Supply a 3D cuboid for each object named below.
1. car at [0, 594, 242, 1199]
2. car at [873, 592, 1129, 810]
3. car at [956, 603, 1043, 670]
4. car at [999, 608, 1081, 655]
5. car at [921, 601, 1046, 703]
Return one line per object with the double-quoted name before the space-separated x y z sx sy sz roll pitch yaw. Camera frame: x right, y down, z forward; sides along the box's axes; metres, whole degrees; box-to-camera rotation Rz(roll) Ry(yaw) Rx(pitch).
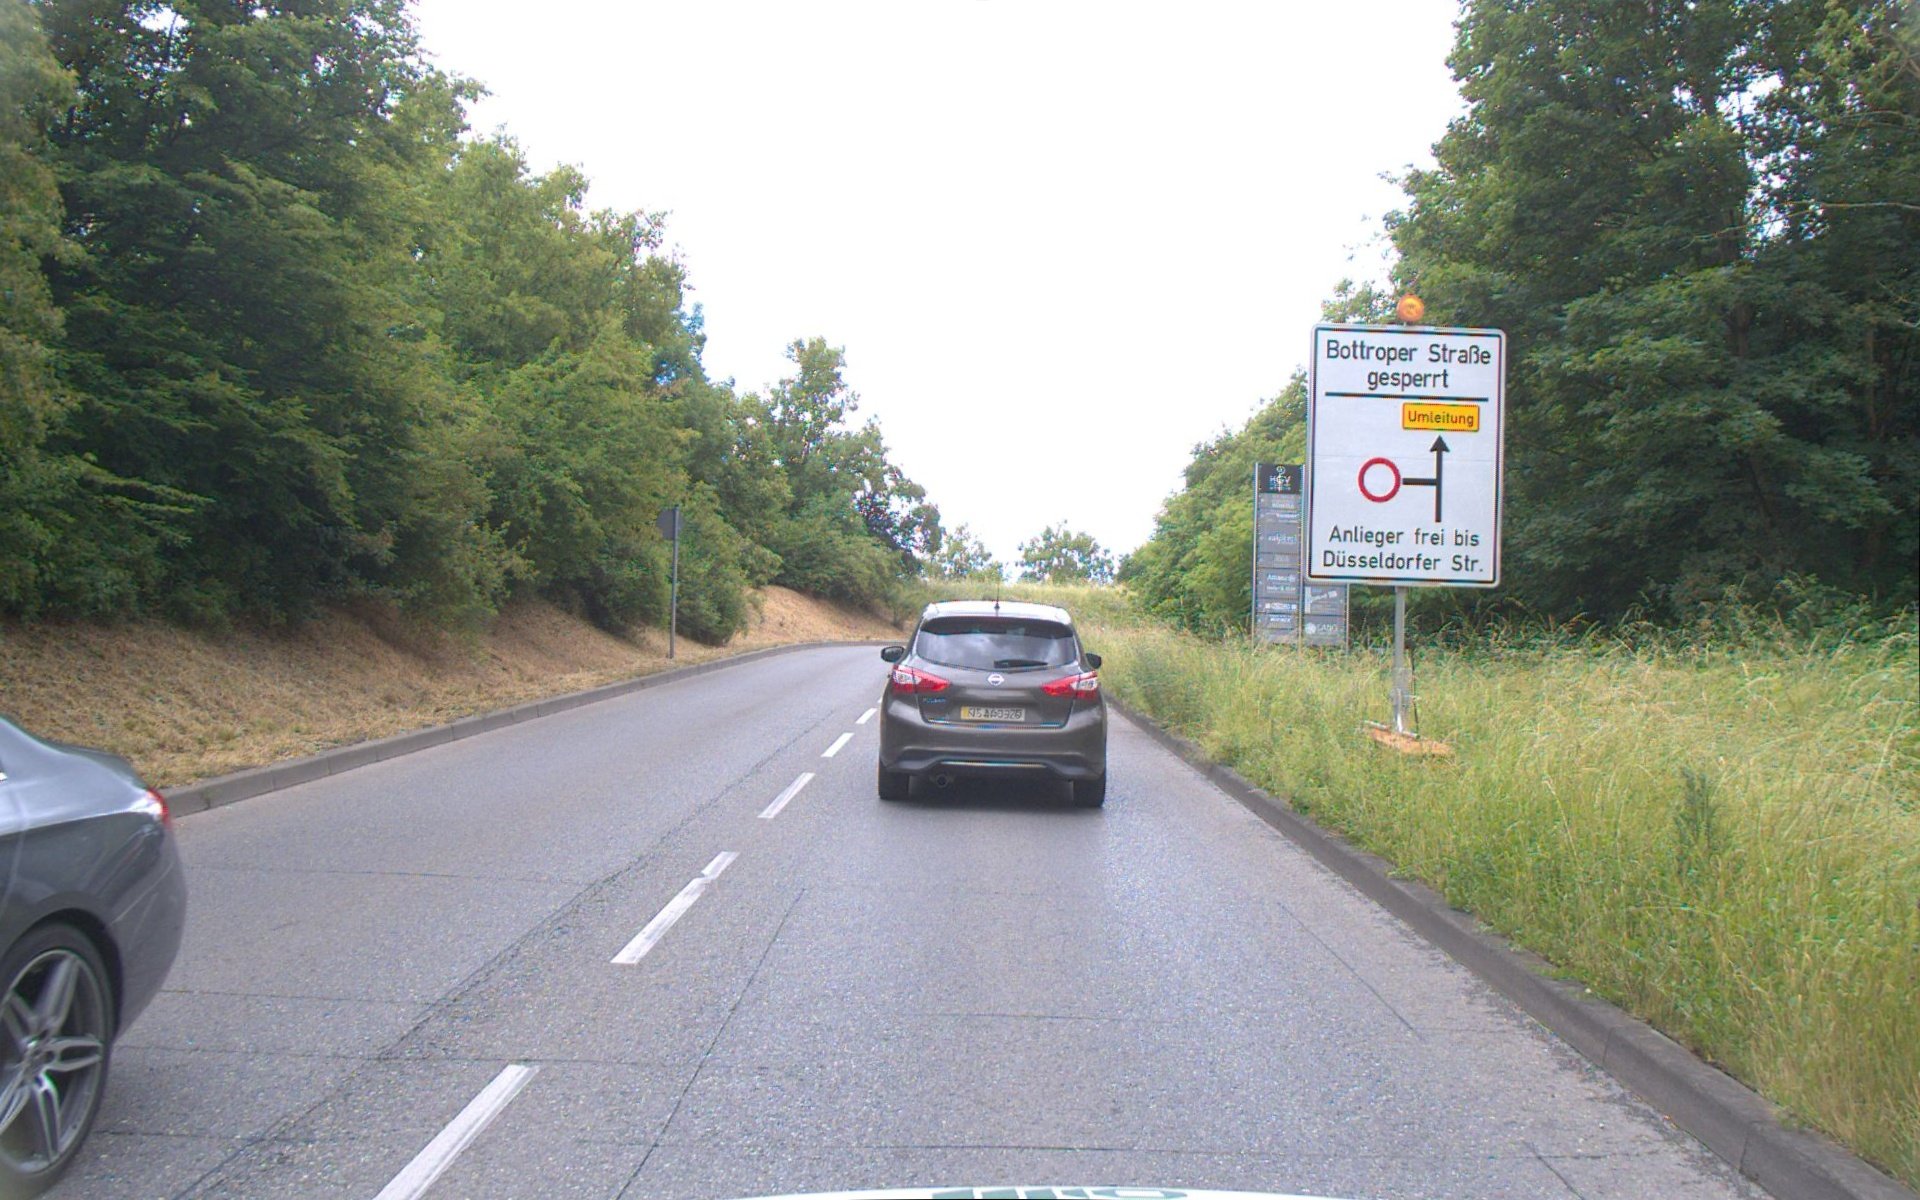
"car" -3.069 0.692 2.722 1.793 1.430 4.432 1 0 0
"car" 0.229 0.733 13.850 1.807 1.519 3.998 1 0 -2
"car" 0.995 0.850 40.019 1.684 1.521 3.579 1 0 8
"car" 2.629 0.997 53.678 1.760 1.422 4.002 1 0 16
"car" 0.304 0.788 27.013 1.808 1.519 4.225 0 0 -2
